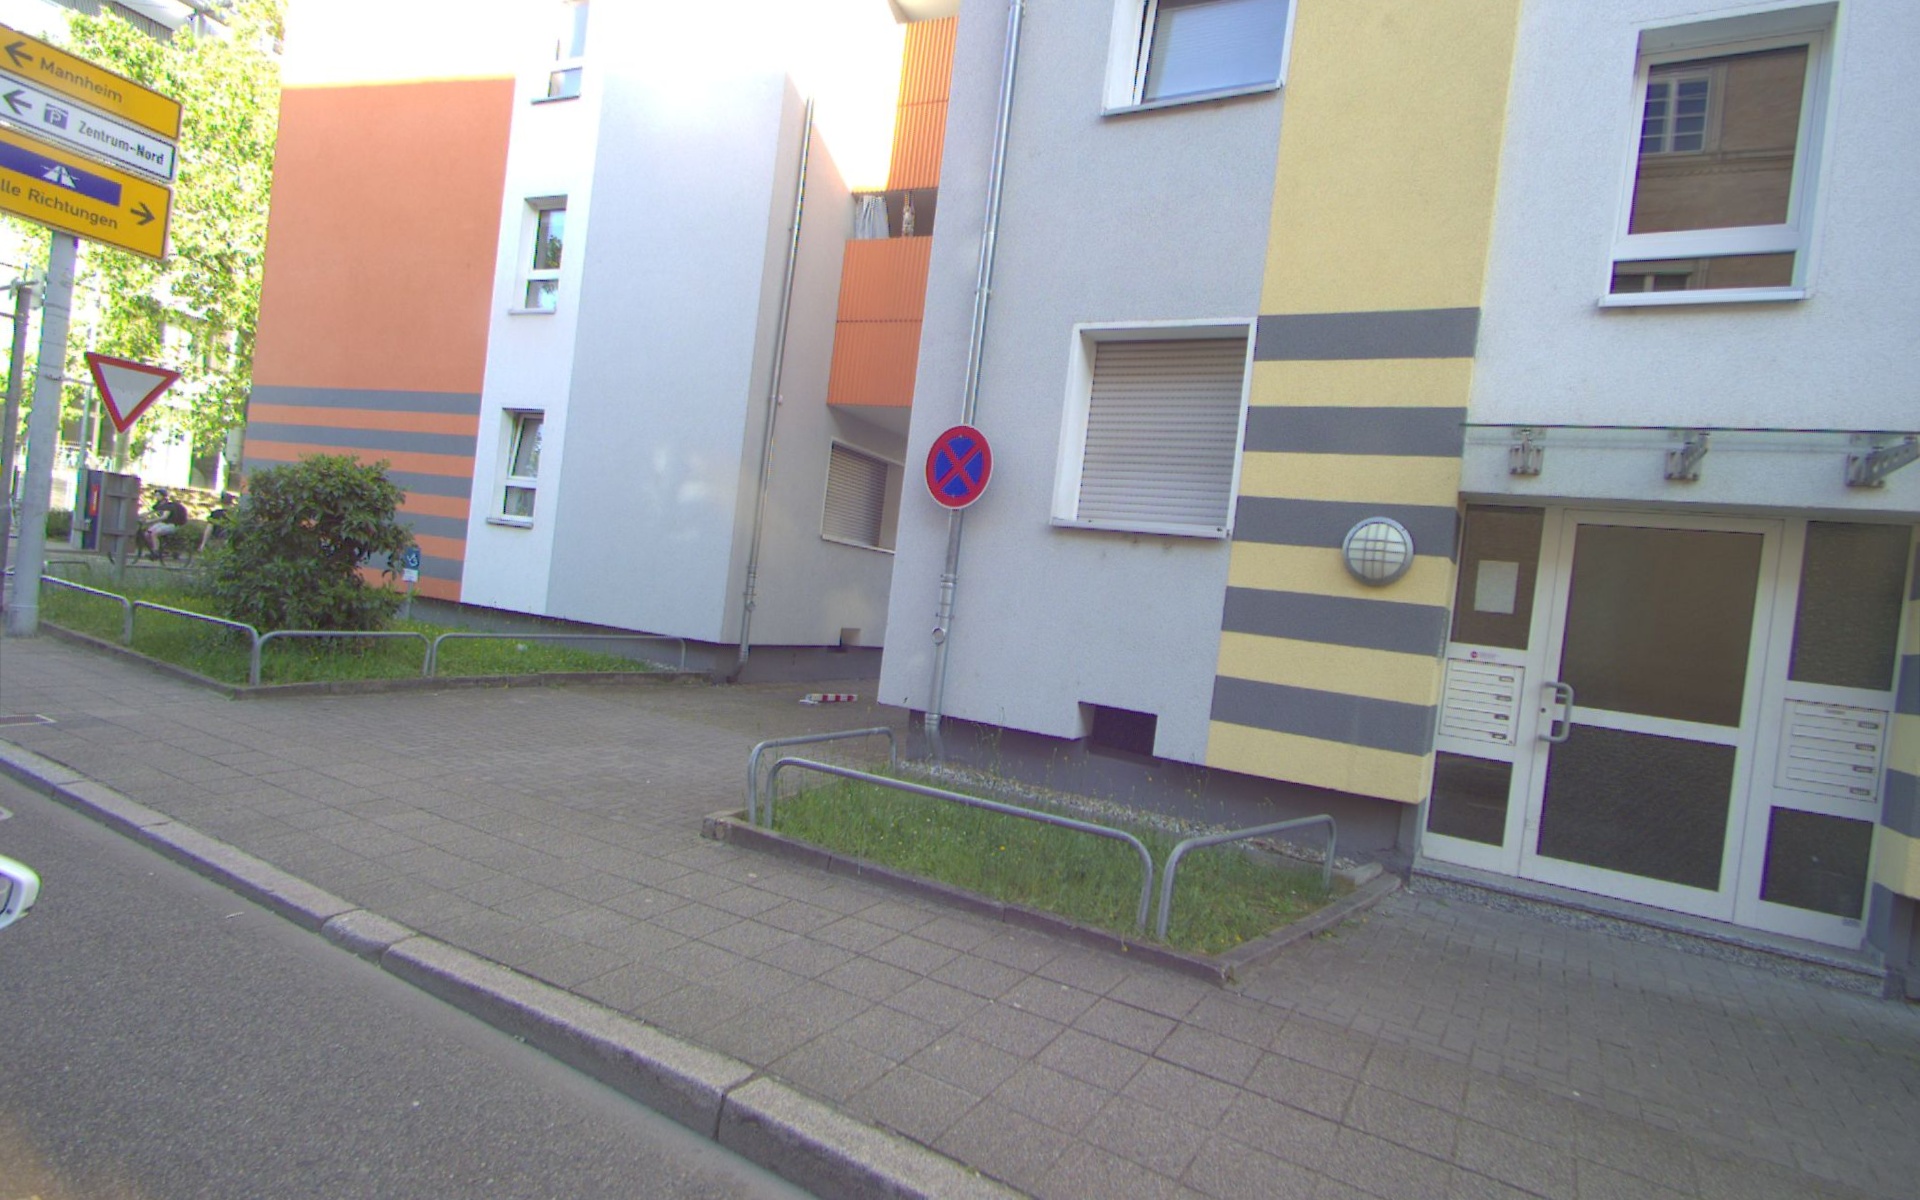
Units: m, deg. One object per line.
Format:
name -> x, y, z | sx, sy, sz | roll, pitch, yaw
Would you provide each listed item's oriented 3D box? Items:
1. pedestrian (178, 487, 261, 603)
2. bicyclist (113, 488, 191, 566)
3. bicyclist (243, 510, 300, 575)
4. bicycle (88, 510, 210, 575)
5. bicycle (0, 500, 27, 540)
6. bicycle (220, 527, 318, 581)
pedestrian -> -12.540, -0.904, 17.064 | 0.690, 1.831, 0.719 | 7, -1, -9
bicyclist -> -17.595, -1.575, 21.923 | 0.581, 1.546, 1.078 | 7, 1, 20
bicyclist -> -18.122, -1.509, 26.474 | 0.693, 1.542, 0.916 | 7, 1, 32
bicycle -> -17.627, -1.218, 21.932 | 0.581, 1.166, 1.969 | 7, 0, 20
bicycle -> -26.391, -2.240, 27.387 | 1.409, 1.021, 0.379 | 7, 1, -11
bicycle -> -18.149, -1.193, 26.479 | 0.617, 1.166, 1.965 | 7, 0, 32
